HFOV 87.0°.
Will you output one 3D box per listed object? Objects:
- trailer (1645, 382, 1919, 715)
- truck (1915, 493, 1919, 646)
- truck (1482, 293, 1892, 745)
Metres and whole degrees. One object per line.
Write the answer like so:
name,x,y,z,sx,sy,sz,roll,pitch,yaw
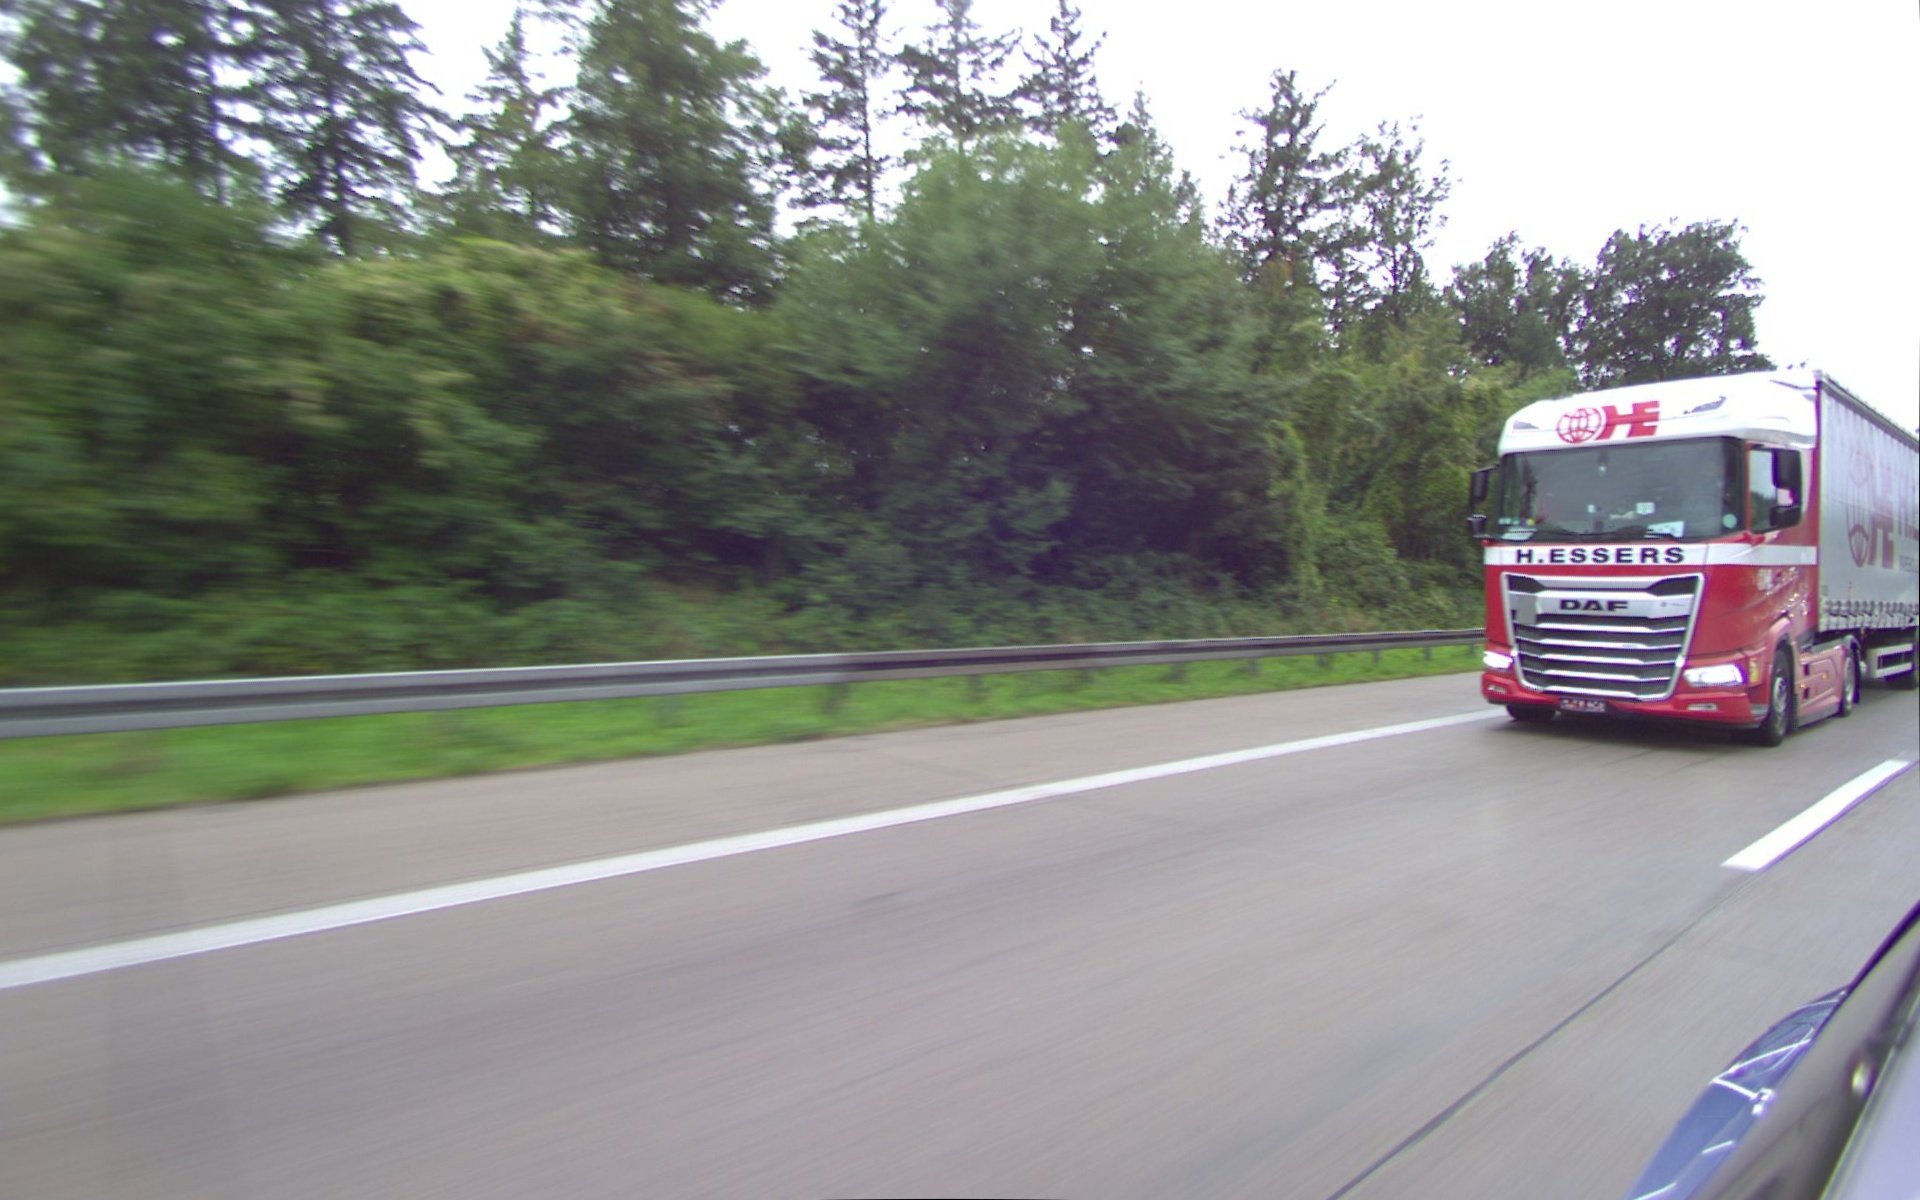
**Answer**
trailer,15.042,-0.630,16.898,12.292,4.004,2.376,0,0,-38
truck,29.103,-0.828,28.058,5.855,4.155,2.807,0,0,-36
truck,8.693,-0.686,11.815,6.049,4.004,2.380,2,0,-40
